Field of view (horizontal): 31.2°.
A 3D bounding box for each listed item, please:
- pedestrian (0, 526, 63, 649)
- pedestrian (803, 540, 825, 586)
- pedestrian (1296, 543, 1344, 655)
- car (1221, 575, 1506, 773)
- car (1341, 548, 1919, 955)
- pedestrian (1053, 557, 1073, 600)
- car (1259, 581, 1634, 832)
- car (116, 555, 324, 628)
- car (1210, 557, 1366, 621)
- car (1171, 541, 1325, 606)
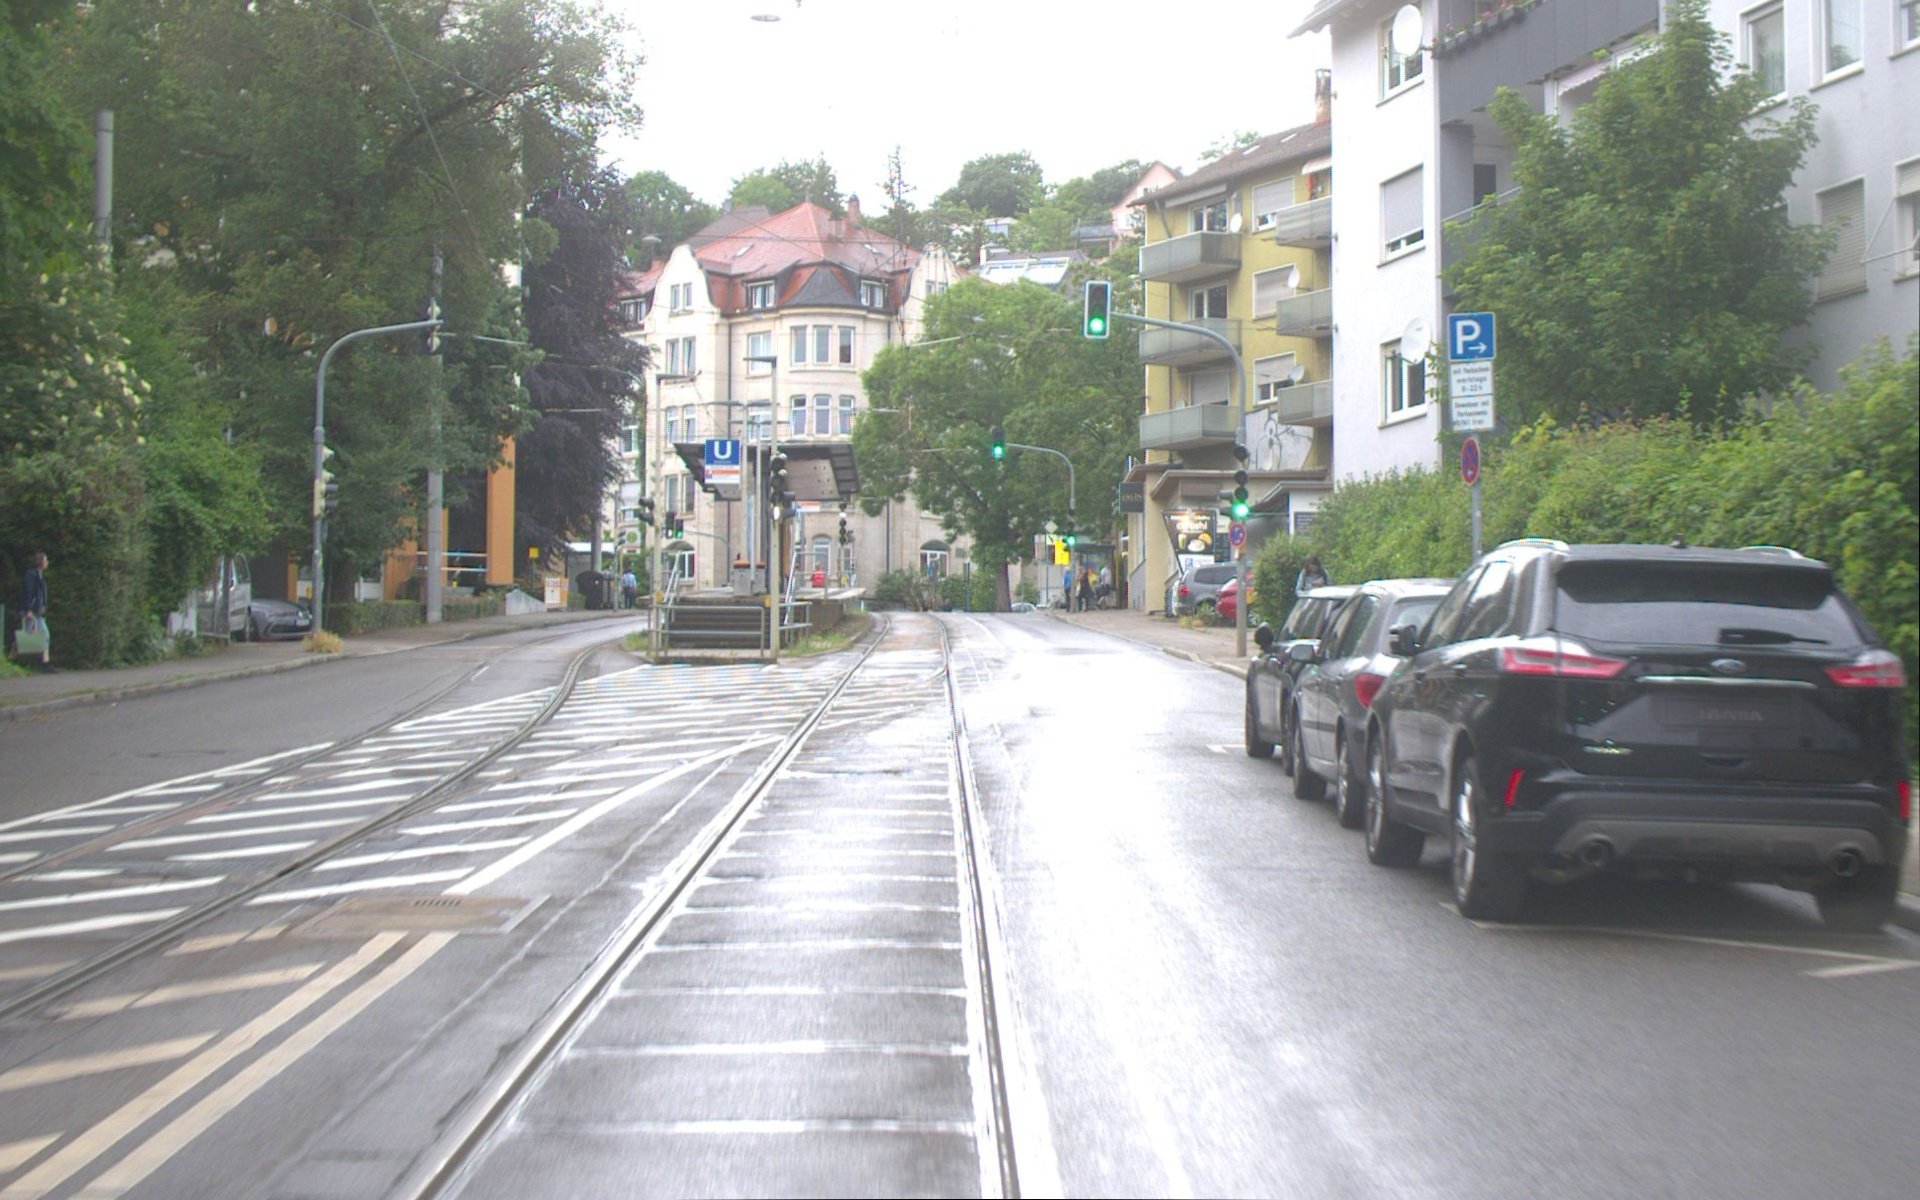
[{"bbox_3d":[-13.183,-0.175,48.309,0.915,1.672,0.740,1,-3,0],"label":"pedestrian"},{"bbox_3d":[-4.784,-1.219,112.784,0.657,1.462,0.772,1,-3,2],"label":"pedestrian"},{"bbox_3d":[5.266,-0.007,50.327,0.644,1.623,0.699,1,-1,3],"label":"pedestrian"},{"bbox_3d":[3.145,0.536,27.455,1.704,1.421,3.862,2,0,-1],"label":"car"},{"bbox_3d":[3.118,0.610,16.556,1.906,1.636,4.690,2,0,-1],"label":"car"},{"bbox_3d":[3.591,-0.740,119.792,0.578,1.462,0.544,1,-3,-8],"label":"pedestrian"},{"bbox_3d":[3.047,0.615,22.332,1.704,1.423,4.251,2,0,-1],"label":"car"},{"bbox_3d":[-15.547,-0.165,72.190,3.991,1.401,1.680,0,-3,23],"label":"car"},{"bbox_3d":[8.517,-0.283,89.495,3.841,1.537,1.808,1,-1,-2],"label":"car"},{"bbox_3d":[7.793,-0.715,93.199,3.987,1.640,1.807,1,-1,-1],"label":"car"}]
